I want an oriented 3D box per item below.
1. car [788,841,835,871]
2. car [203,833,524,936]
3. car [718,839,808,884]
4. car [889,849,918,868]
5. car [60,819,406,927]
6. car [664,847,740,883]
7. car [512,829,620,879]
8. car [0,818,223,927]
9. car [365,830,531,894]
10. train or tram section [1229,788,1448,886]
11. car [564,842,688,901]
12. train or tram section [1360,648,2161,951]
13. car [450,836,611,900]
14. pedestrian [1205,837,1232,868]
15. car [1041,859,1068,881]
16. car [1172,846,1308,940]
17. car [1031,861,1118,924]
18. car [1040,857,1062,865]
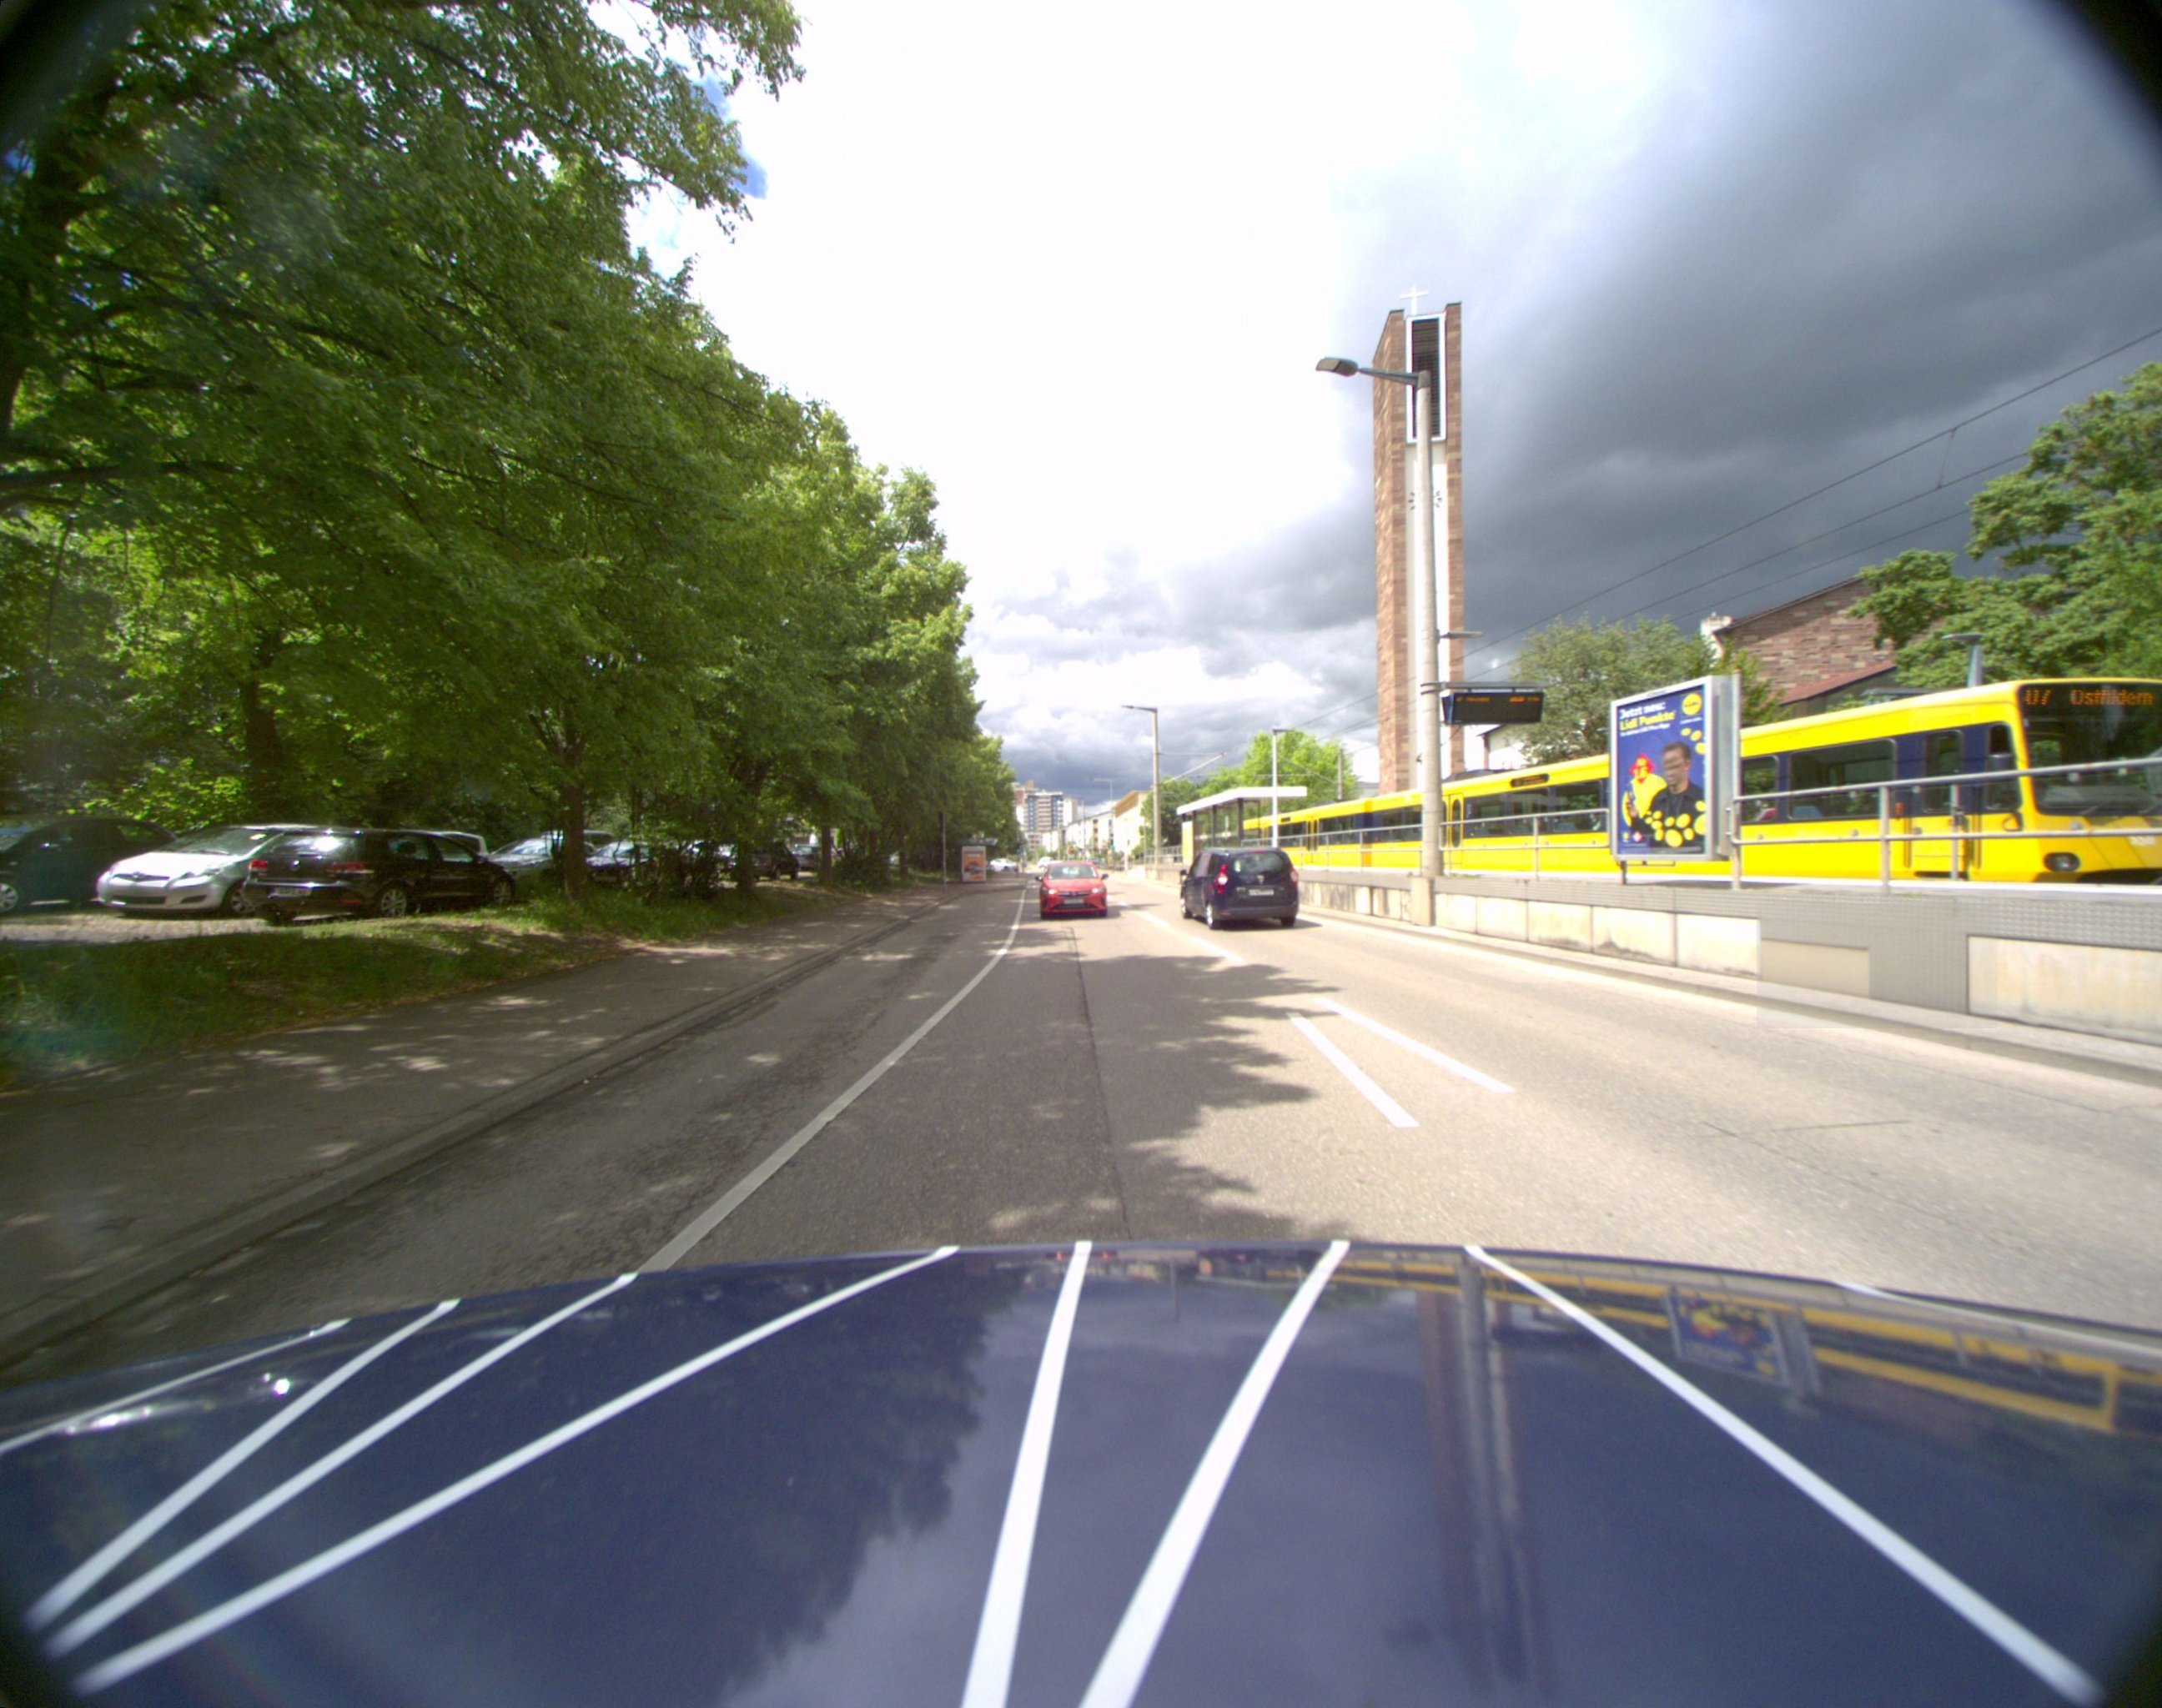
[{"bbox_3d":[-16.723,0.090,47.341,1.693,1.685,4.259,2,1,-5],"label":"car"},{"bbox_3d":[-11.677,0.439,12.818,1.802,1.455,3.988,1,0,-4],"label":"car"},{"bbox_3d":[-12.726,0.289,30.761,1.852,1.652,4.722,-1,0,-3],"label":"car"},{"bbox_3d":[-15.114,0.377,64.812,1.631,1.505,4.137,2,0,-4],"label":"car"},{"bbox_3d":[-14.076,0.282,13.030,1.639,1.557,3.988,1,0,-4],"label":"car"},{"bbox_3d":[-18.032,0.524,36.381,1.474,1.546,4.431,3,-1,-1],"label":"car"},{"bbox_3d":[-20.512,0.011,30.487,1.617,1.779,4.206,2,0,-3],"label":"car"},{"bbox_3d":[-16.452,0.233,11.901,1.613,1.557,3.988,3,0,-4],"label":"car"},{"bbox_3d":[-17.643,0.210,21.426,1.697,1.604,3.621,2,0,-2],"label":"car"},{"bbox_3d":[11.245,-0.594,37.142,3.117,3.444,18.819,-3,0,-4],"label":"train or tram section"},{"bbox_3d":[-12.035,0.442,20.394,1.614,1.405,3.815,1,0,-11],"label":"car"},{"bbox_3d":[12.394,-0.651,18.305,3.117,3.444,18.989,-3,0,-4],"label":"train or tram section"},{"bbox_3d":[-14.424,0.342,20.161,1.697,1.499,3.621,2,0,-2],"label":"car"},{"bbox_3d":[5.410,-0.051,29.924,0.798,1.180,0.919,1,0,-5],"label":"pedestrian"},{"bbox_3d":[-1.842,1.090,52.293,1.499,1.477,3.518,0,0,-8],"label":"car"},{"bbox_3d":[3.228,0.723,16.322,1.725,1.672,4.386,-3,0,-3],"label":"car"},{"bbox_3d":[-0.283,0.951,20.502,1.784,1.433,4.128,-3,0,-8],"label":"car"},{"bbox_3d":[-5.276,1.309,134.975,1.627,1.286,4.148,2,0,36],"label":"car"}]
